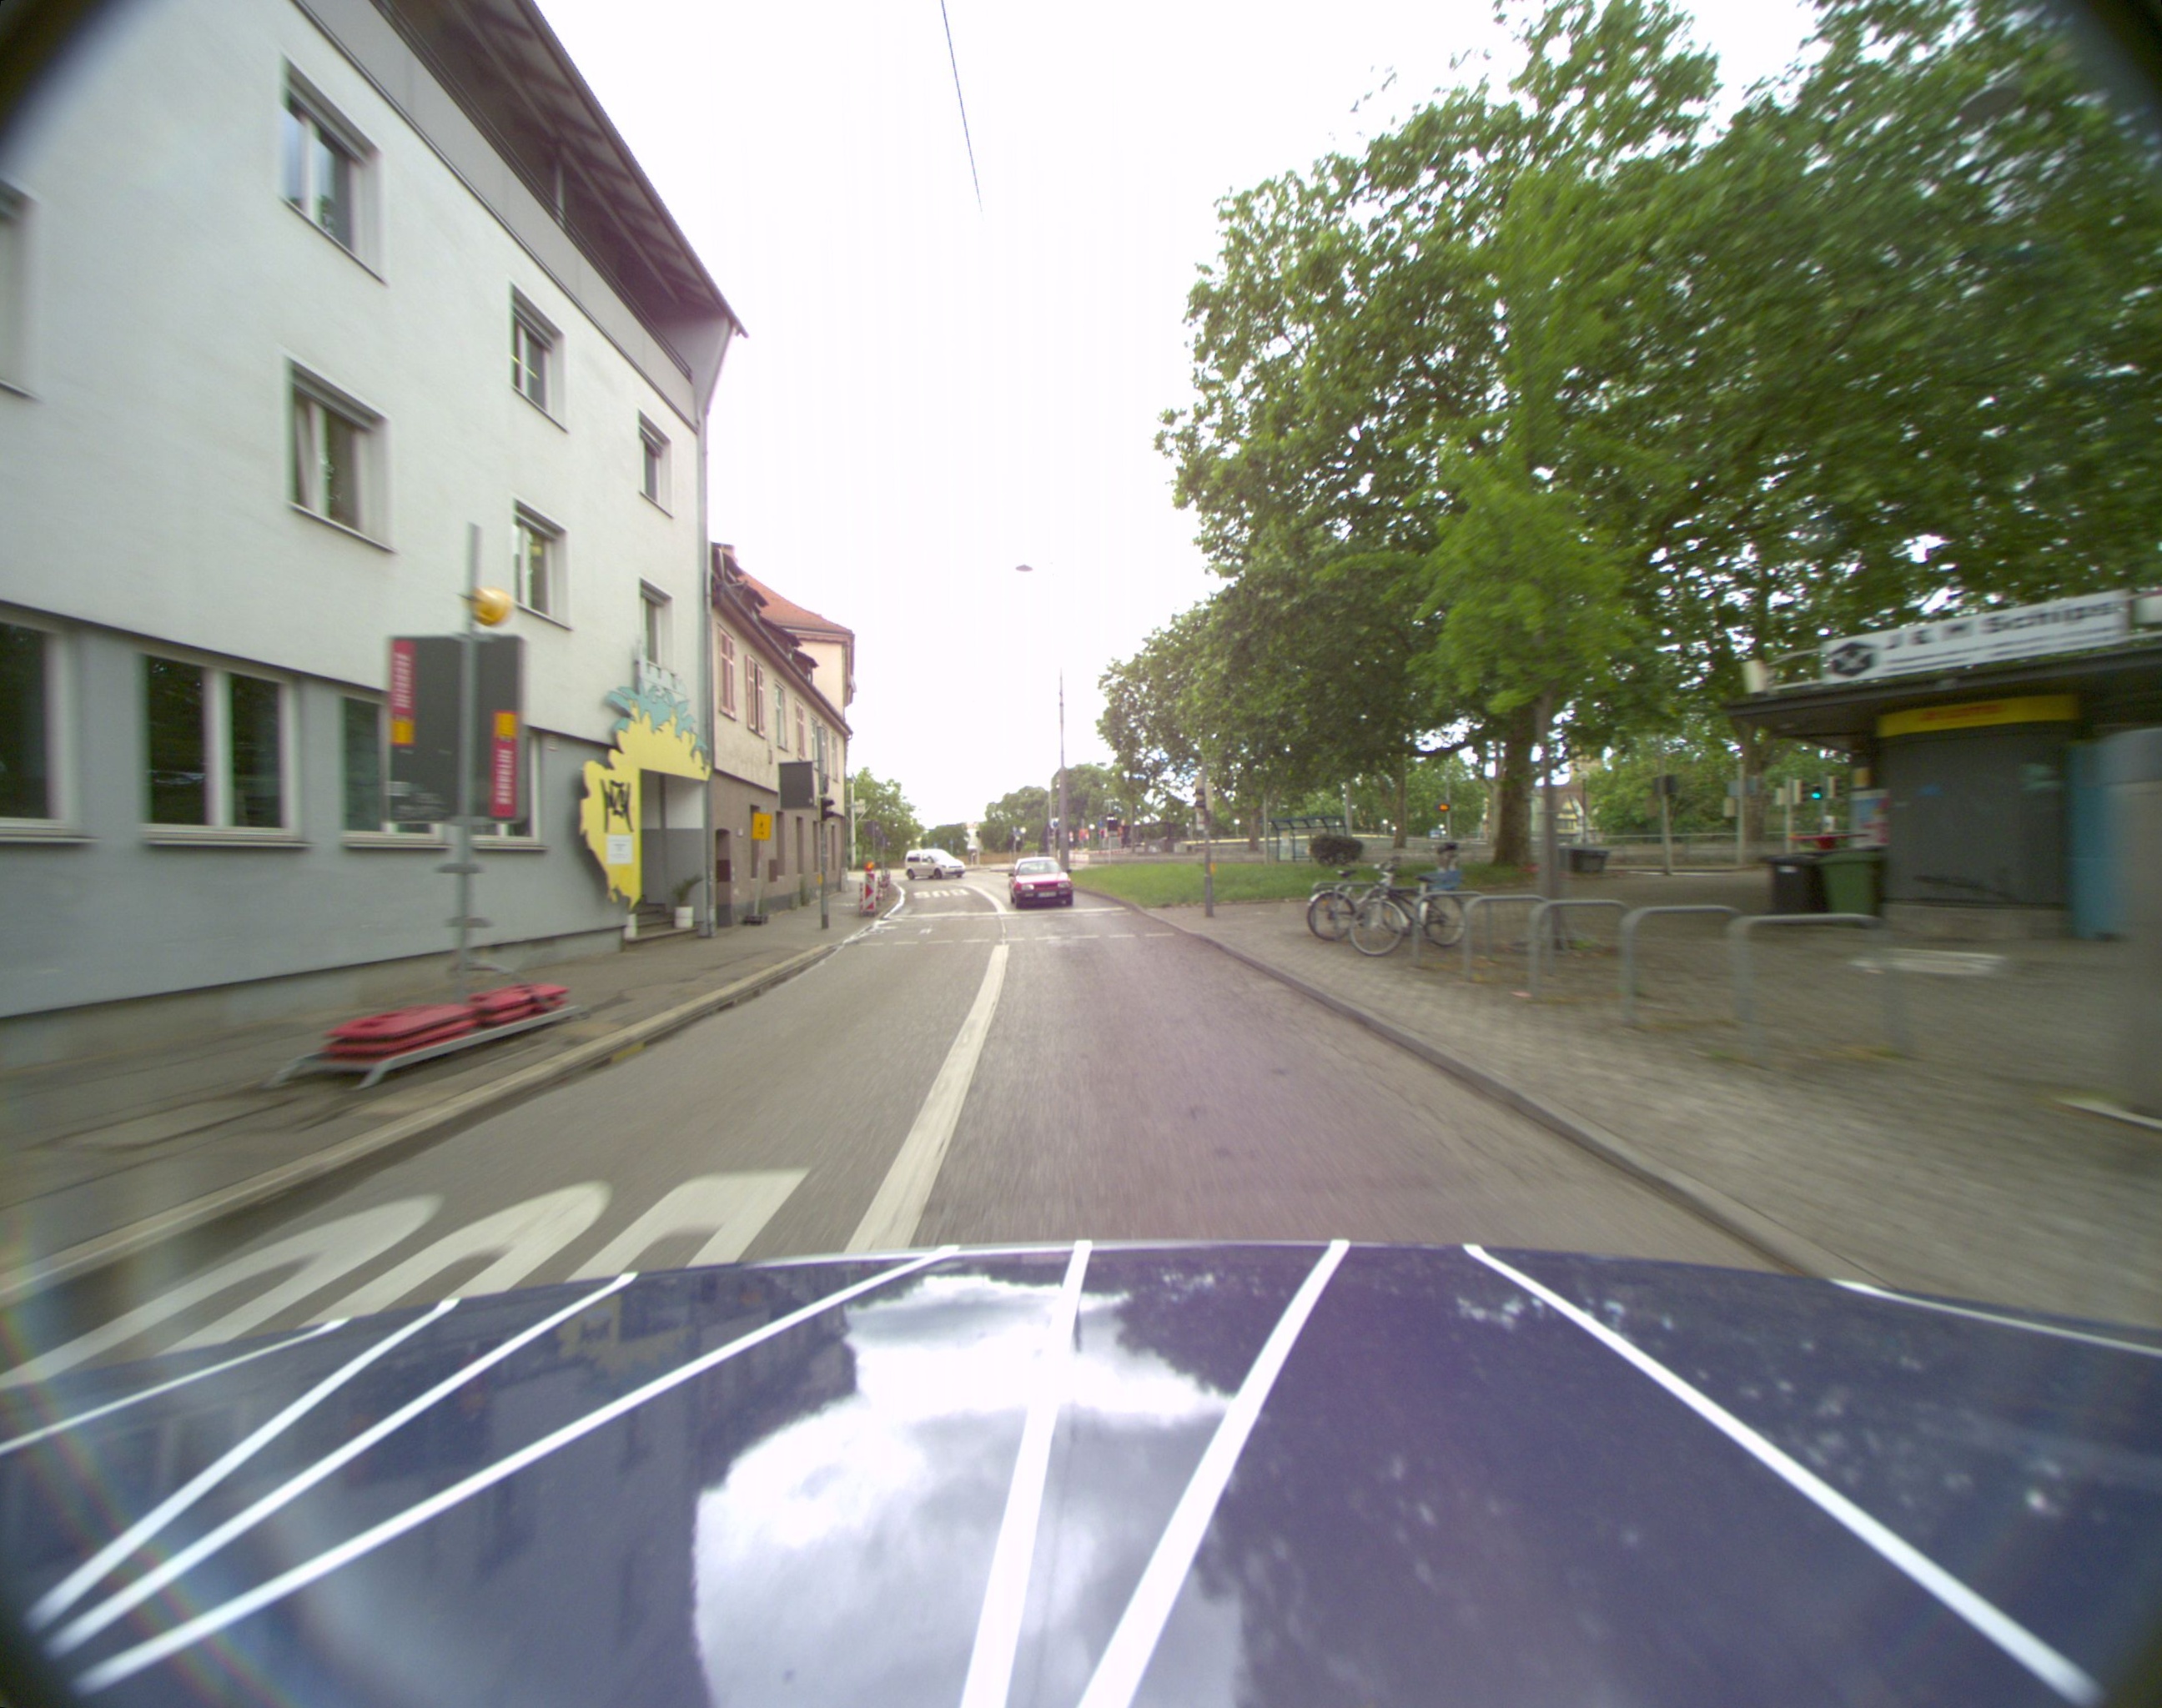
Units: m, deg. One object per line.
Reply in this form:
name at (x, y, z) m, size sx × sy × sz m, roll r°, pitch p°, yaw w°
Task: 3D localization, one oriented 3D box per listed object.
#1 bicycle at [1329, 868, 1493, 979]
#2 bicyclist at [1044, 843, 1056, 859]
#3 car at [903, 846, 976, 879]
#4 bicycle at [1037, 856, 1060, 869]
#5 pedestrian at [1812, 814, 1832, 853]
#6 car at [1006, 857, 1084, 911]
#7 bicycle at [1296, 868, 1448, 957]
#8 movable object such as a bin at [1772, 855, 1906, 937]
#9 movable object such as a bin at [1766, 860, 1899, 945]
bicycle at (4.100, 0.823, 9.451) m, size 1.808 × 1.169 × 0.723 m, roll -4°, pitch 1°, yaw -18°
bicyclist at (-3.138, -0.301, 76.932) m, size 1.005 × 1.642 × 0.643 m, roll -1°, pitch 4°, yaw 34°
car at (-8.762, 0.497, 46.899) m, size 4.445 × 1.776 × 2.077 m, roll -1°, pitch 4°, yaw 42°
bicycle at (-3.318, 0.848, 77.173) m, size 2.258 × 1.271 × 0.692 m, roll -1°, pitch 4°, yaw 34°
pedestrian at (31.778, -0.887, 32.595) m, size 0.502 × 1.614 × 0.533 m, roll -6°, pitch 5°, yaw -36°
car at (-1.197, 0.870, 23.170) m, size 1.851 × 1.414 × 4.170 m, roll -2°, pitch -1°, yaw -9°
bicycle at (4.091, 0.821, 10.776) m, size 1.874 × 1.107 × 0.578 m, roll -3°, pitch 1°, yaw 3°
movable object such as a bin at (10.229, 0.551, 10.271) m, size 0.969 × 0.959 × 1.110 m, roll -6°, pitch 1°, yaw -37°
movable object such as a bin at (9.537, 0.605, 9.664) m, size 0.674 × 0.959 × 1.076 m, roll -6°, pitch 1°, yaw -37°
